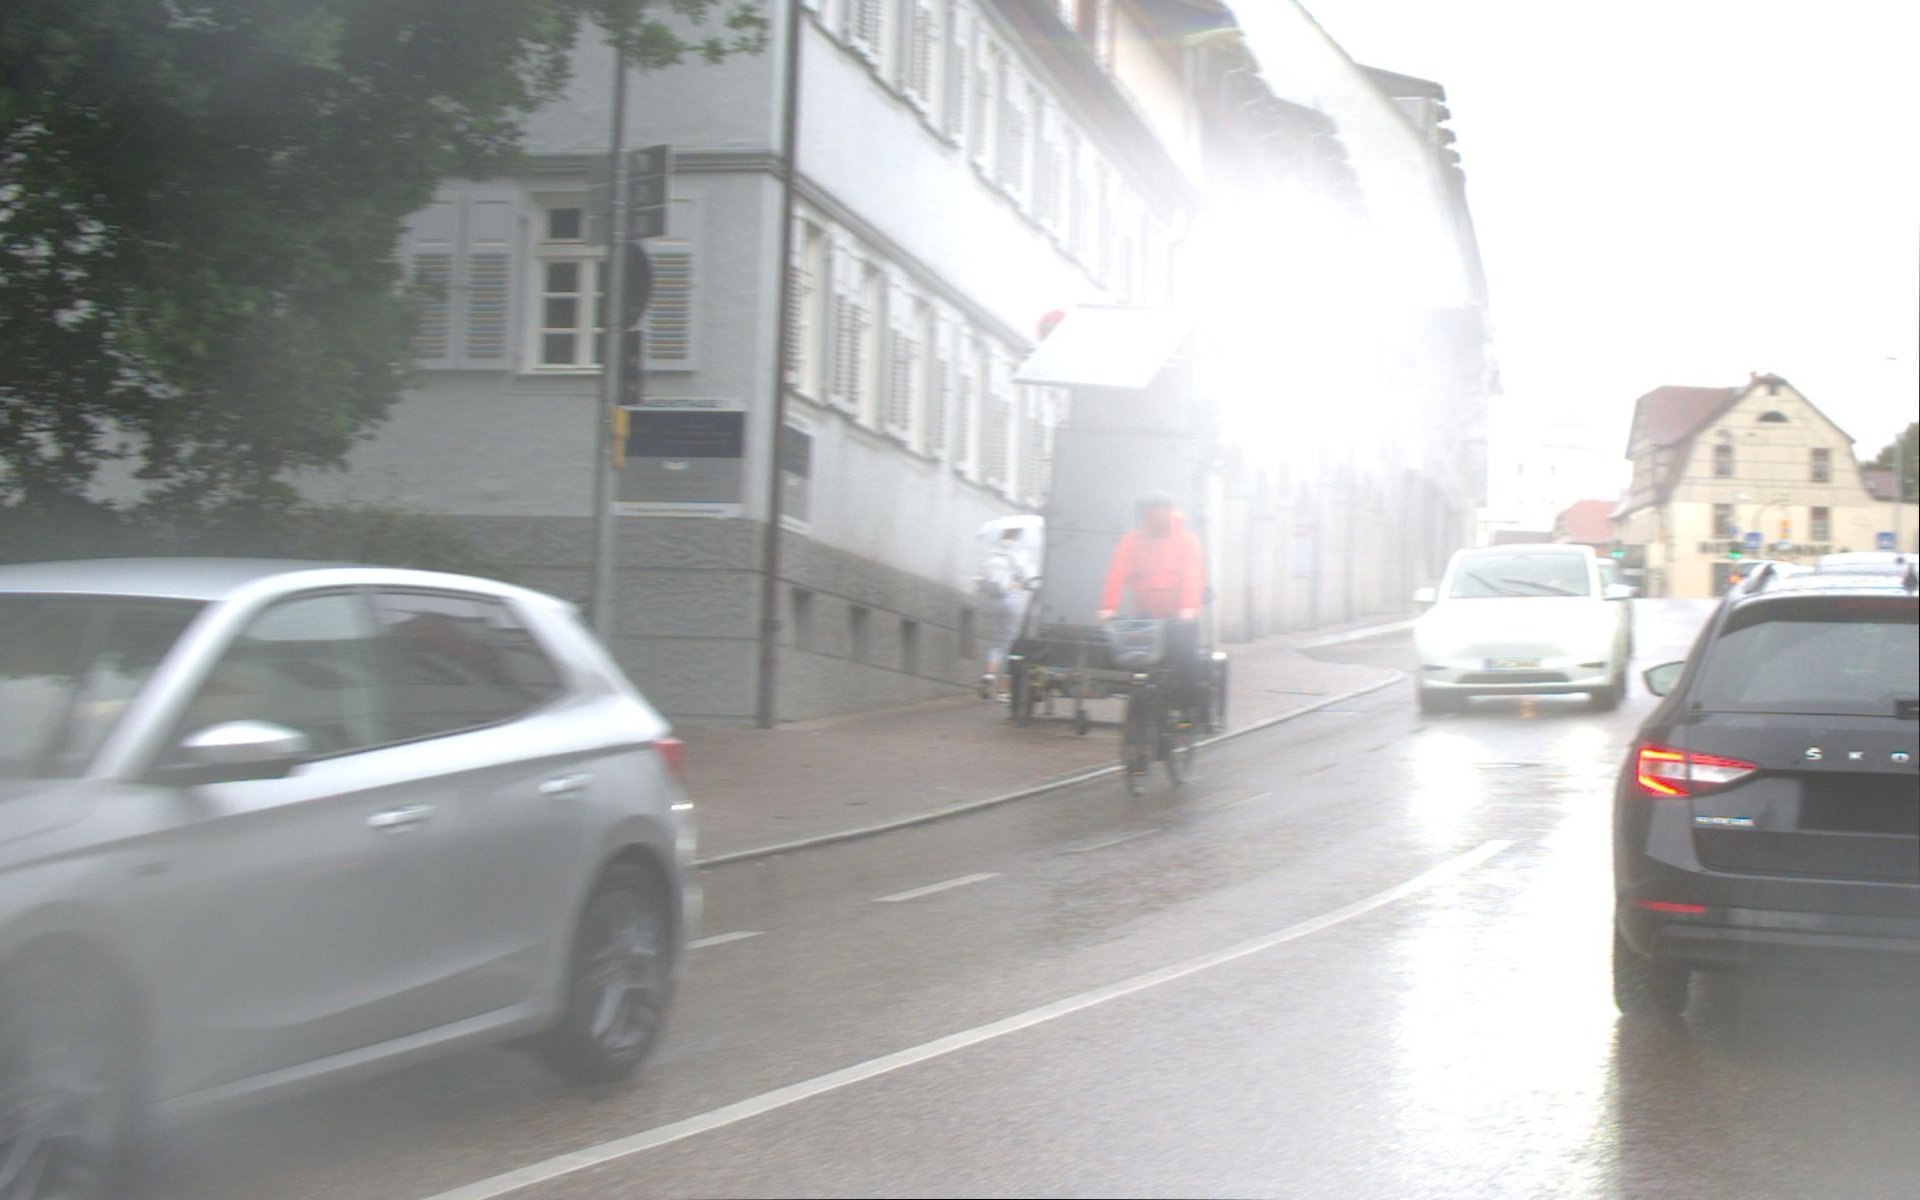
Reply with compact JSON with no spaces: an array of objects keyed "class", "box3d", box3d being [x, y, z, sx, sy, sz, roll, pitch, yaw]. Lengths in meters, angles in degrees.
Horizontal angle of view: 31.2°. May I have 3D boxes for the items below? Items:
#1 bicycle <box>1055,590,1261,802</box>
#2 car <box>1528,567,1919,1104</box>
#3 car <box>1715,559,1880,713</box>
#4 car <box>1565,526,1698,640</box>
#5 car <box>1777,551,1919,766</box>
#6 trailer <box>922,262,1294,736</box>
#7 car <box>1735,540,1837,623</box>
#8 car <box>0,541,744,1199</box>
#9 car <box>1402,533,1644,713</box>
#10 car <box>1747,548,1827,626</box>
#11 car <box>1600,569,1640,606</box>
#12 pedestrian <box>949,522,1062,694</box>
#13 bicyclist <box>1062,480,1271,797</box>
[{"class":"bicycle","box3d":[1.314,0.588,22.333,0.748,1.159,2.155,1,4,20]},{"class":"car","box3d":[3.206,0.656,11.826,1.888,1.443,4.353,2,2,17]},{"class":"car","box3d":[9.705,0.461,40.040,1.628,1.525,3.997,1,-4,11]},{"class":"car","box3d":[9.720,-0.280,49.683,1.774,1.528,3.709,2,2,12]},{"class":"car","box3d":[7.284,0.395,26.110,1.858,1.468,3.997,2,2,16]},{"class":"trailer","box3d":[1.322,-0.721,28.220,1.995,3.522,4.571,2,-1,14]},{"class":"car","box3d":[16.380,-0.388,68.277,1.704,1.546,3.605,2,1,10]},{"class":"car","box3d":[-2.106,0.580,8.354,1.664,1.422,3.867,1,1,22]},{"class":"car","box3d":[5.724,0.212,34.563,1.875,1.656,4.305,-2,0,16]},{"class":"car","box3d":[22.370,-0.362,93.010,1.995,2.007,3.998,2,1,13]},{"class":"car","box3d":[28.843,-0.558,150.226,1.628,1.525,3.998,2,1,11]},{"class":"pedestrian","box3d":[0.425,0.061,31.809,0.708,1.524,1.044,3,1,16]},{"class":"bicyclist","box3d":[1.351,0.259,22.364,1.137,2.007,0.879,0,-3,20]}]
